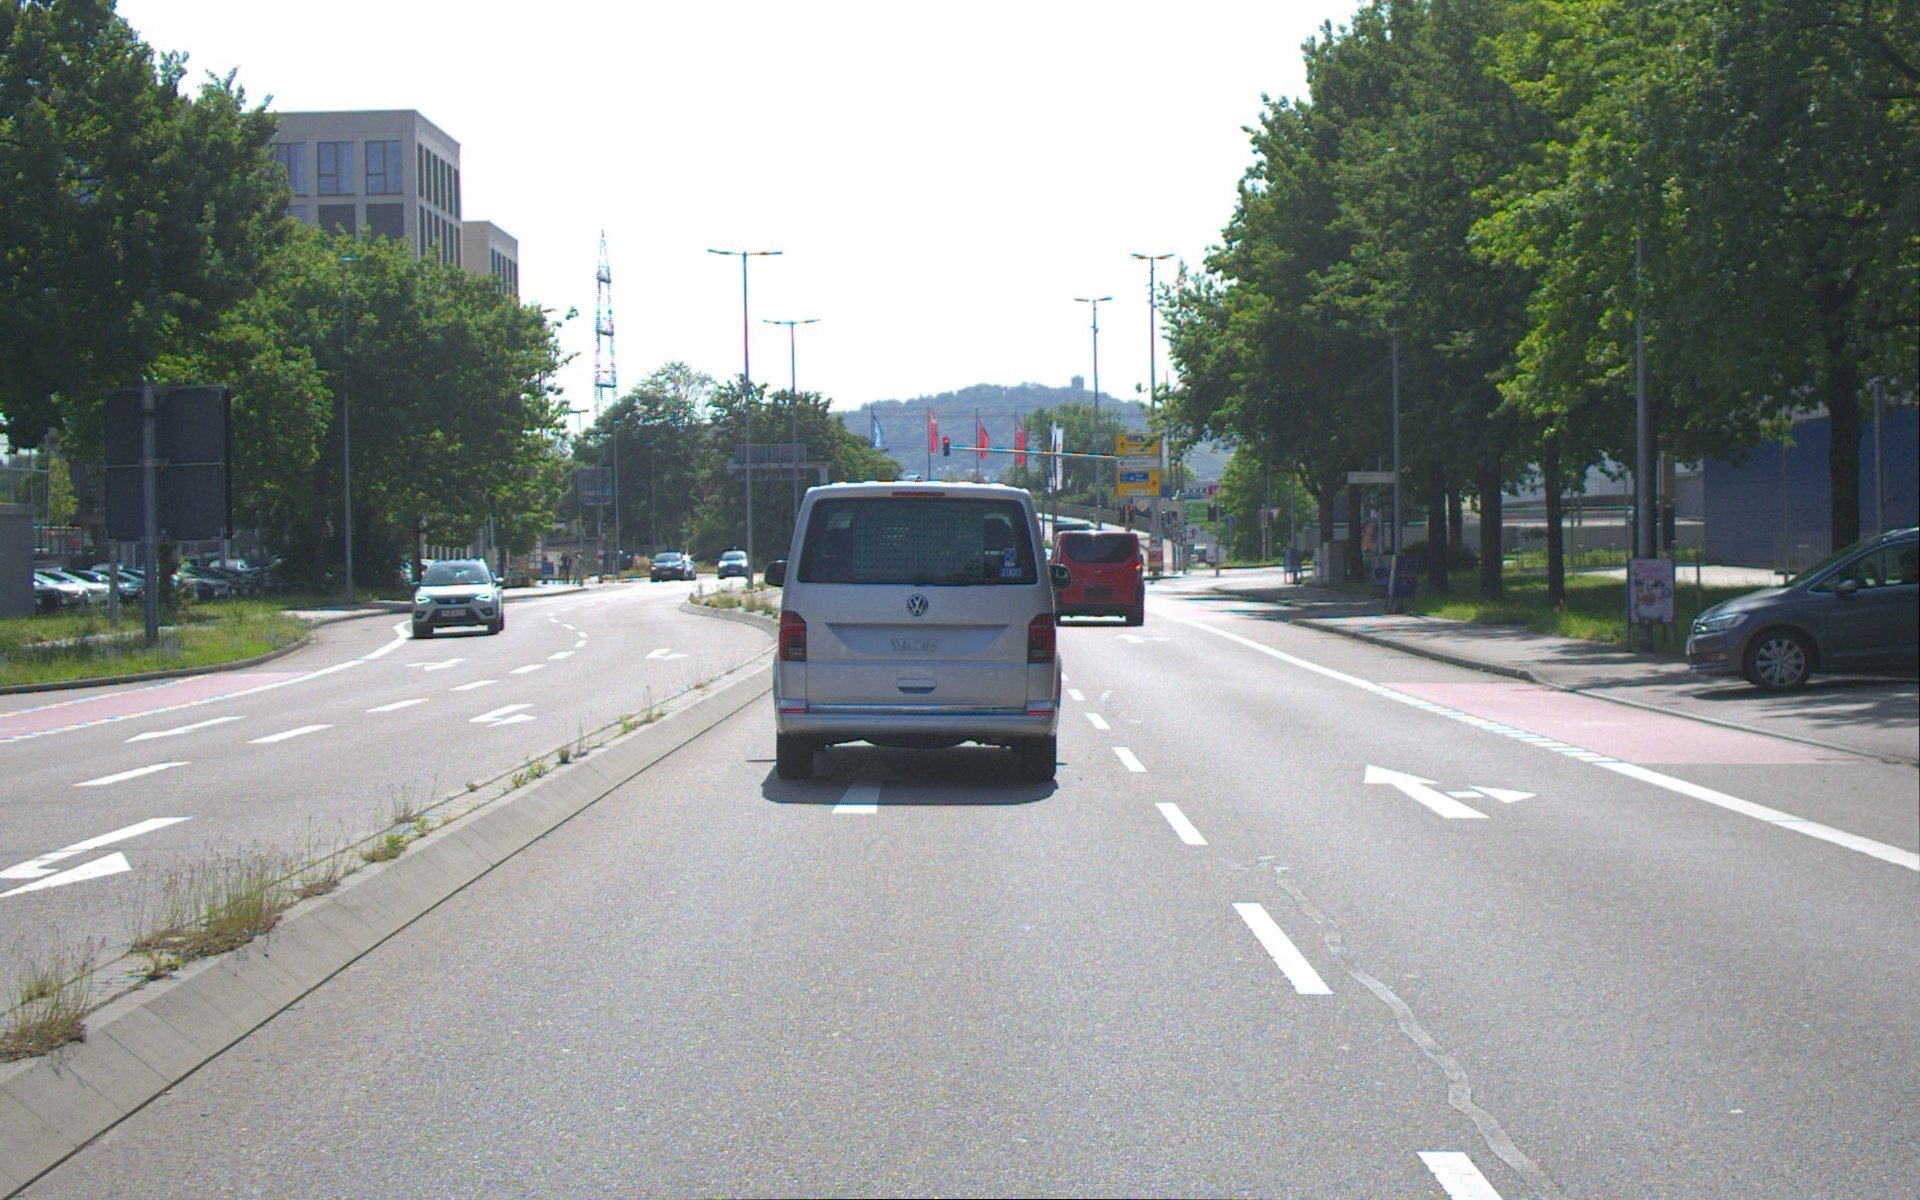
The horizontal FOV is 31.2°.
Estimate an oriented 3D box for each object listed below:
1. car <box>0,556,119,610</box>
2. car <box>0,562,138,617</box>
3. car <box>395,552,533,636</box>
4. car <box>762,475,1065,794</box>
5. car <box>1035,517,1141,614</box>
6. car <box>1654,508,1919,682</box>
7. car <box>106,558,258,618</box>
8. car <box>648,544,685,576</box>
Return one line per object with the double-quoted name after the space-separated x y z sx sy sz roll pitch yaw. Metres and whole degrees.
-23.646 -0.380 86.994 4.173 1.152 2.087 -4 1 -2 "car"
-23.991 -0.251 90.492 4.173 1.186 1.955 -4 1 -2 "car"
-10.403 -0.148 72.393 1.994 1.612 4.104 -2 1 4 "car"
-0.296 0.174 23.469 1.884 1.983 4.000 0 1 0 "car"
2.678 -0.759 73.091 1.967 1.961 5.126 0 1 -1 "car"
9.638 -0.100 36.029 4.445 1.688 1.844 -2 1 7 "car"
-23.384 -0.371 103.440 3.987 1.437 2.000 -5 1 1 "car"
-15.857 -2.171 185.941 1.738 1.613 4.210 -4 1 -2 "car"
